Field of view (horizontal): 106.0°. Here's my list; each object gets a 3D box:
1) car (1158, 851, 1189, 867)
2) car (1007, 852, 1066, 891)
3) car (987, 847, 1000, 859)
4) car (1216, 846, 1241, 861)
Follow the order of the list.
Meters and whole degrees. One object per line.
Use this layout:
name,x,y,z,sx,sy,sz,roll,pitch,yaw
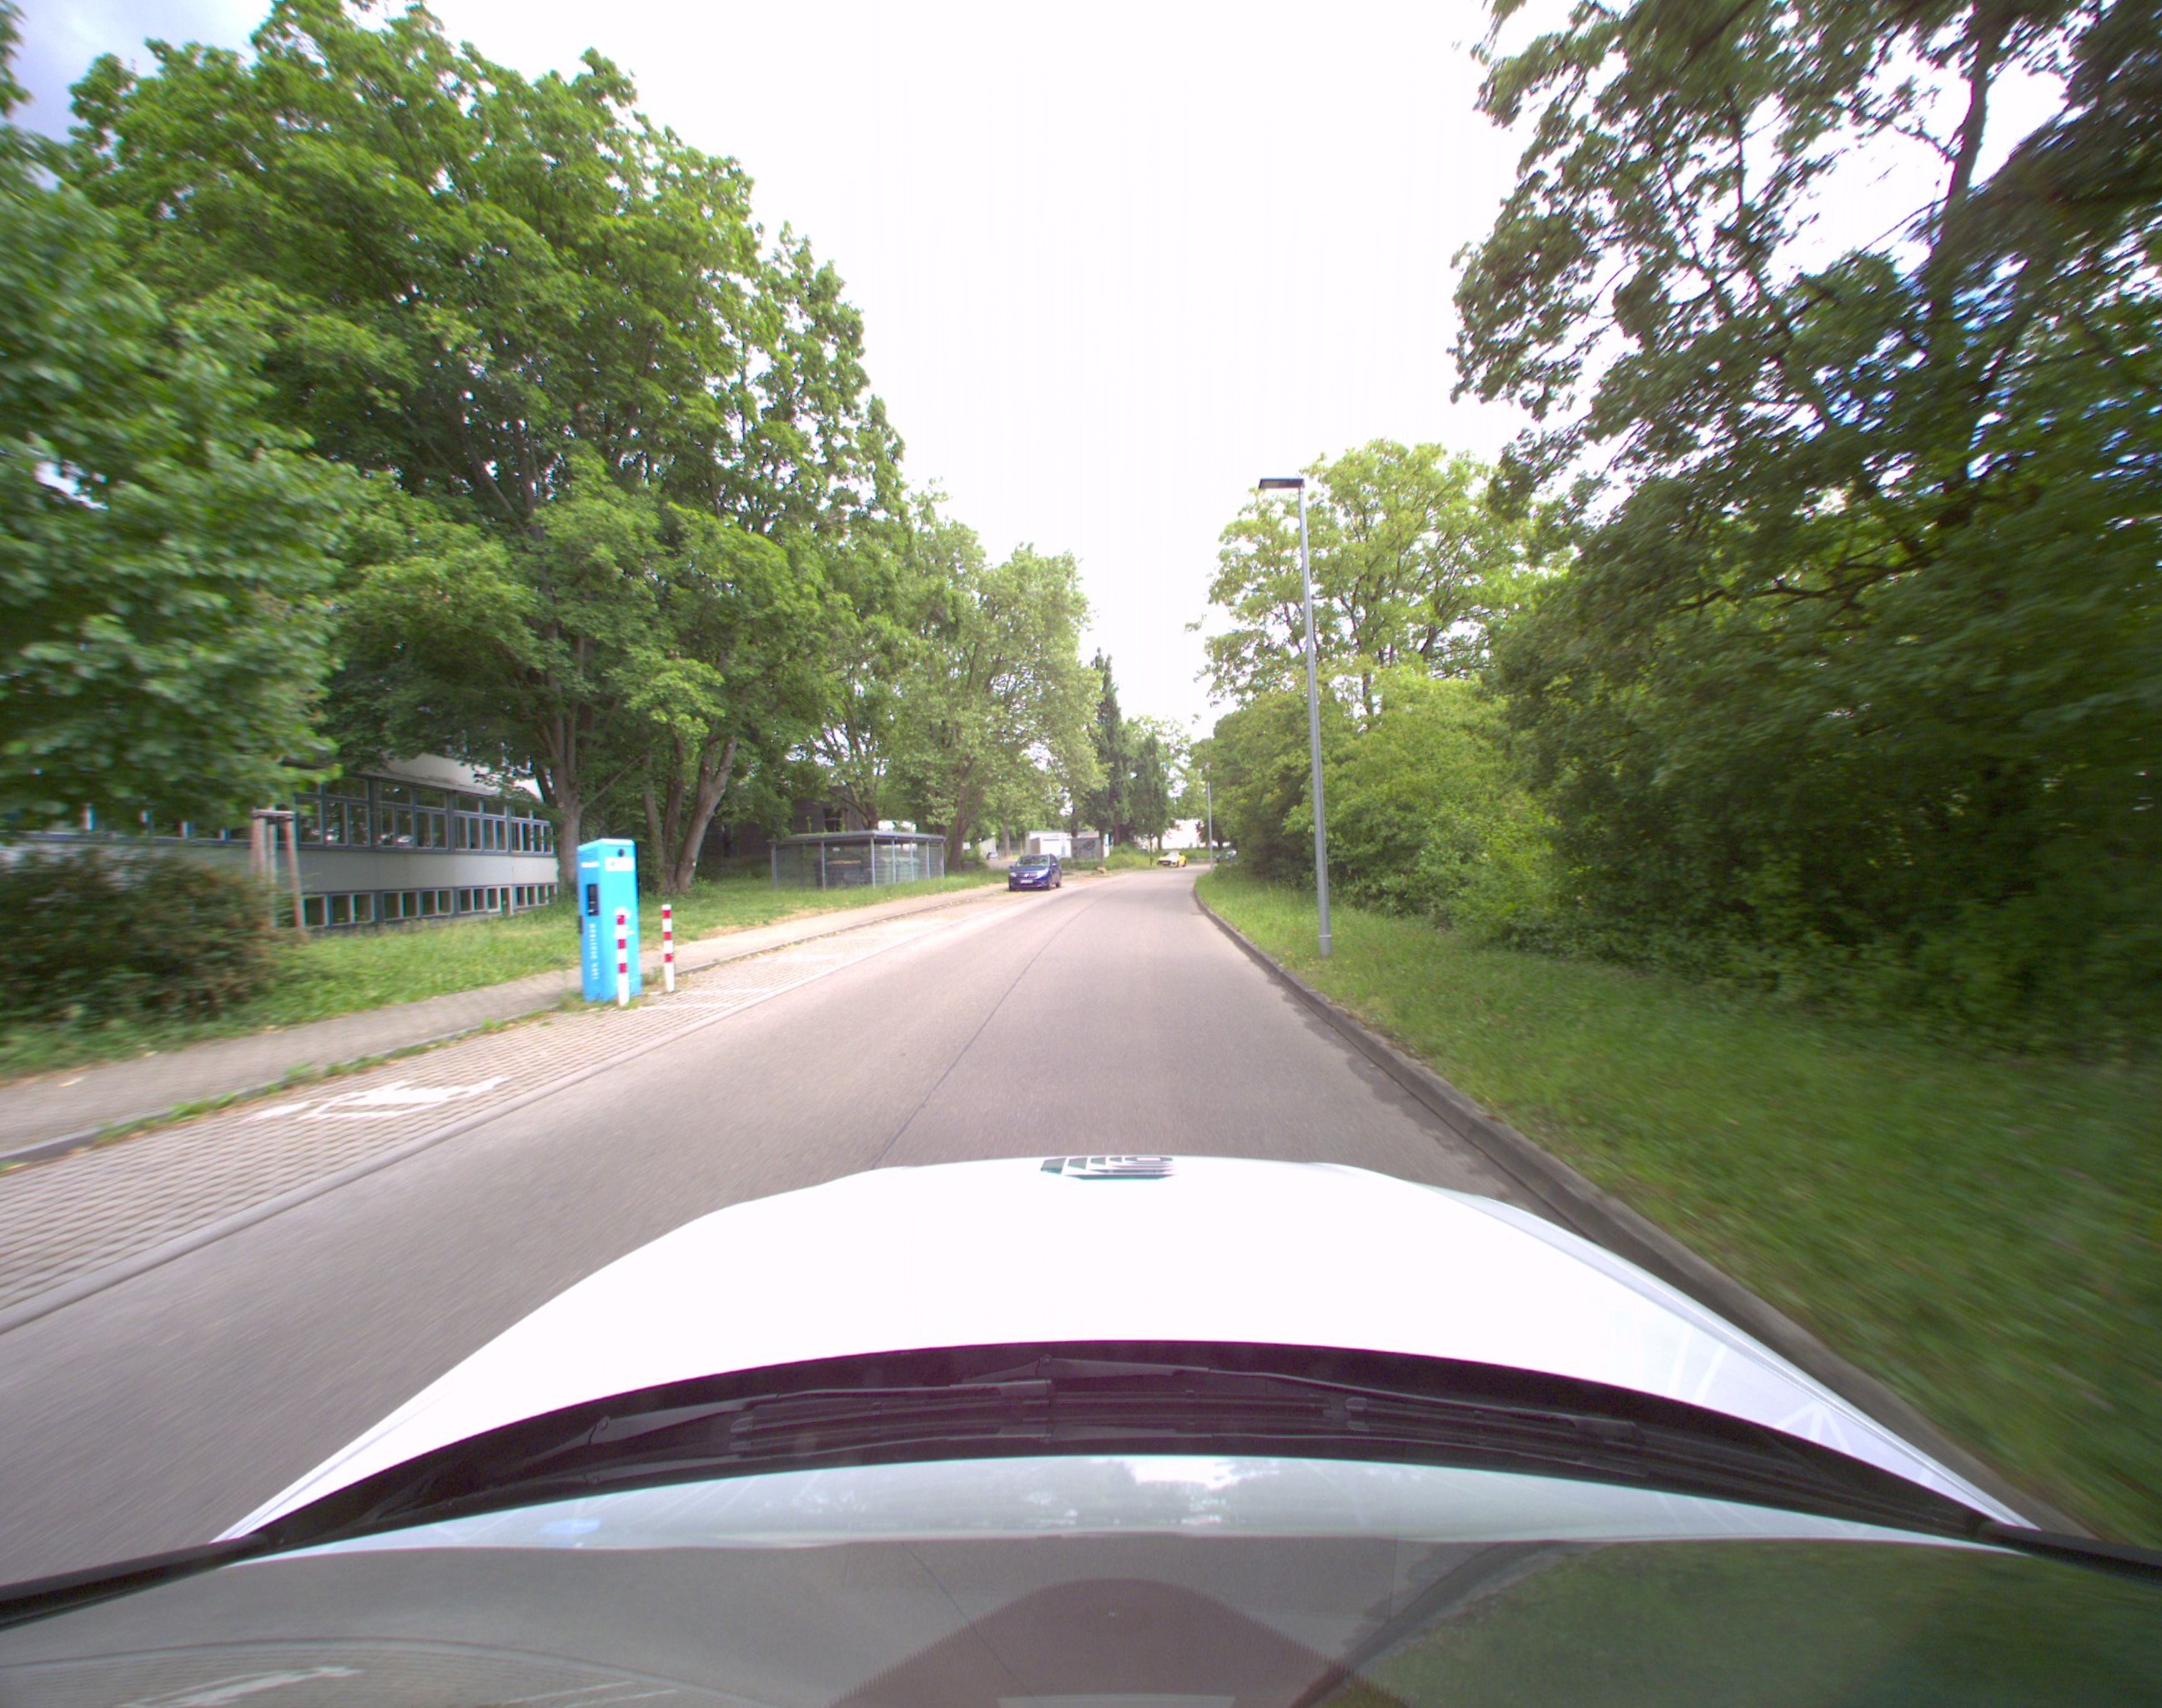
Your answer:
car,8.188,0.424,71.805,1.686,1.403,4.295,-1,0,20
car,-1.832,0.705,34.655,1.671,1.511,4.440,-2,0,7
car,-14.188,-0.180,131.809,1.869,1.746,3.994,-3,0,-4
car,15.942,-0.046,88.143,1.519,1.459,3.743,-2,0,28
